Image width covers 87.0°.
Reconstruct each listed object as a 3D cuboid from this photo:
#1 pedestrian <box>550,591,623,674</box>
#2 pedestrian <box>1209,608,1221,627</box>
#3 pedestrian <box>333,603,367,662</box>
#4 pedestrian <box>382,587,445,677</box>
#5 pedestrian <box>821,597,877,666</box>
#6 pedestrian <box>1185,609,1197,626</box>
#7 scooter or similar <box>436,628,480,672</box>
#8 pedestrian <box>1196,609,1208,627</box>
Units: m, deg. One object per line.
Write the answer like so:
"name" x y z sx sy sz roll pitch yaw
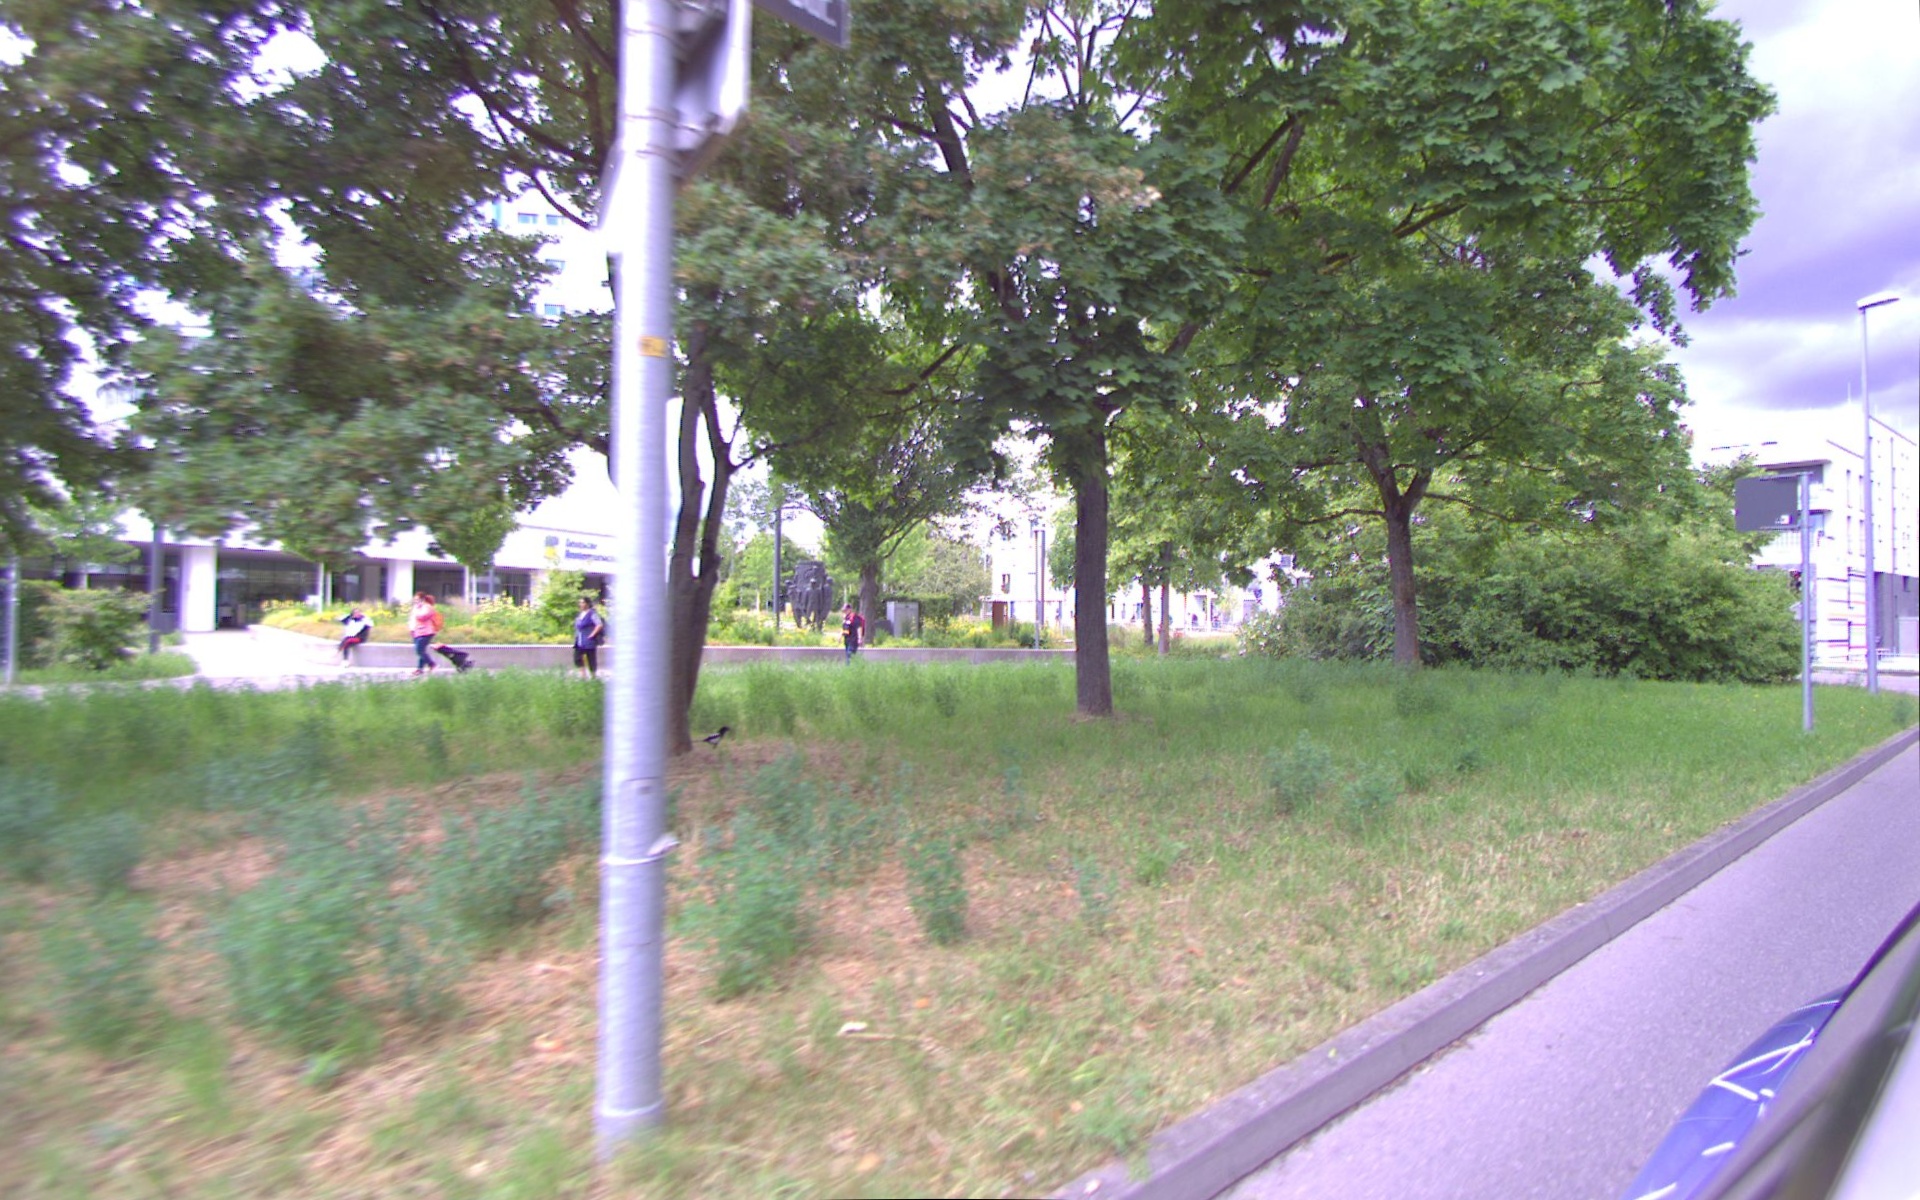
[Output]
"pedestrian" -6.791 0.587 18.401 0.966 1.471 0.878 3 -3 -42
"pedestrian" 20.886 1.414 83.010 0.703 1.538 0.670 3 -3 -39
"pedestrian" -12.529 0.654 20.803 0.594 1.175 0.649 0 -1 -31
"pedestrian" -10.264 0.576 19.006 0.913 1.627 0.956 0 -1 -37
"pedestrian" -2.452 0.695 22.353 0.967 1.471 0.759 3 -3 -43
"pedestrian" 18.979 1.427 83.247 0.704 1.428 0.669 3 -3 -44
"scooter or similar" -9.720 0.956 19.599 0.660 0.792 0.635 0 0 -37
"pedestrian" 19.870 1.459 83.073 0.703 1.428 0.670 3 -3 -39
